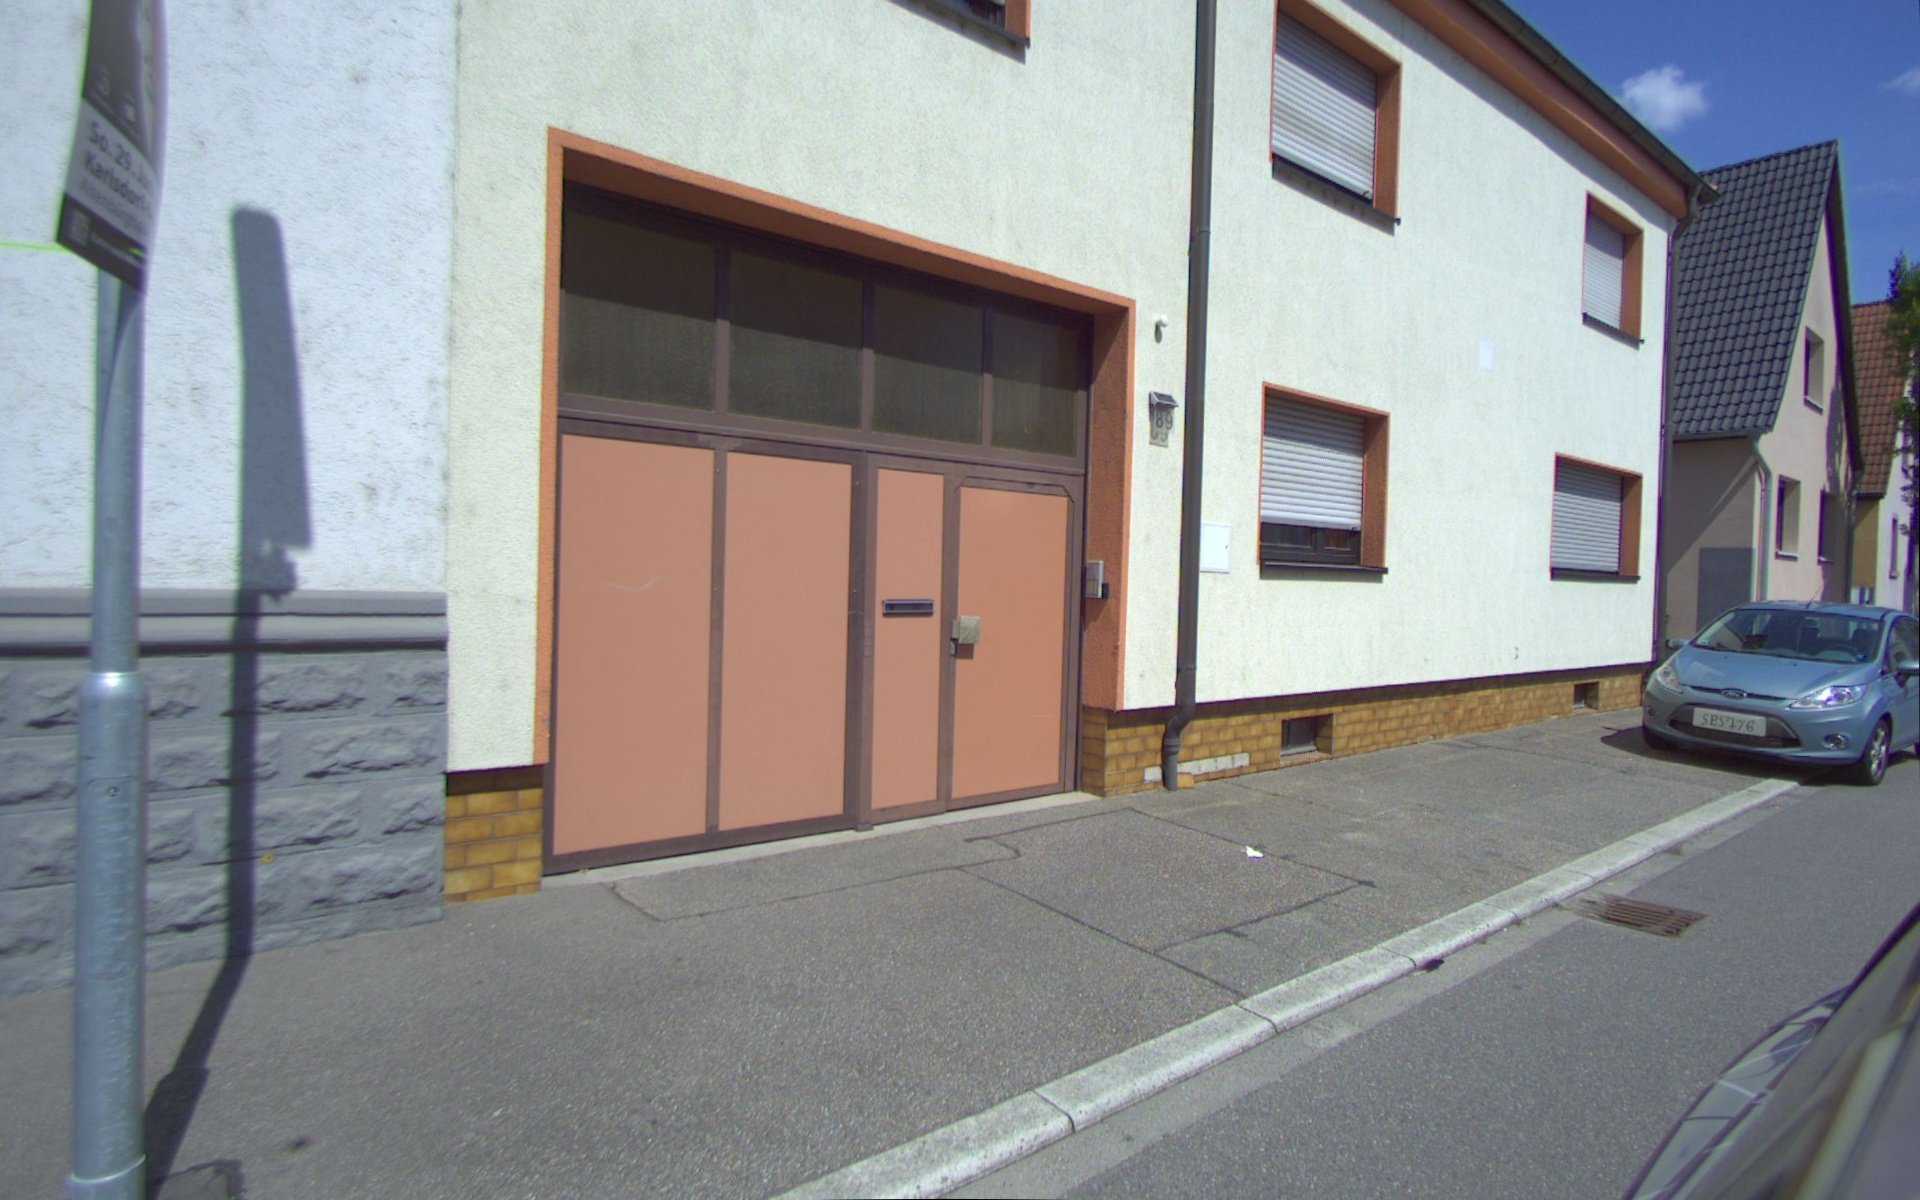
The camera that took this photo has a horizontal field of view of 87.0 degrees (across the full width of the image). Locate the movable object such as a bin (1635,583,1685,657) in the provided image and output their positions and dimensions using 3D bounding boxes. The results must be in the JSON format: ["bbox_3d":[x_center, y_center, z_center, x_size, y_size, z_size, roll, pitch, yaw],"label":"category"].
[{"bbox_3d":[11.561,0.317,16.720,0.687,1.164,0.493,0,2,-42],"label":"movable object such as a bin"}]

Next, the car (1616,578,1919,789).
[{"bbox_3d":[7.959,0.628,9.481,3.678,1.499,1.729,0,5,-36],"label":"car"}]
